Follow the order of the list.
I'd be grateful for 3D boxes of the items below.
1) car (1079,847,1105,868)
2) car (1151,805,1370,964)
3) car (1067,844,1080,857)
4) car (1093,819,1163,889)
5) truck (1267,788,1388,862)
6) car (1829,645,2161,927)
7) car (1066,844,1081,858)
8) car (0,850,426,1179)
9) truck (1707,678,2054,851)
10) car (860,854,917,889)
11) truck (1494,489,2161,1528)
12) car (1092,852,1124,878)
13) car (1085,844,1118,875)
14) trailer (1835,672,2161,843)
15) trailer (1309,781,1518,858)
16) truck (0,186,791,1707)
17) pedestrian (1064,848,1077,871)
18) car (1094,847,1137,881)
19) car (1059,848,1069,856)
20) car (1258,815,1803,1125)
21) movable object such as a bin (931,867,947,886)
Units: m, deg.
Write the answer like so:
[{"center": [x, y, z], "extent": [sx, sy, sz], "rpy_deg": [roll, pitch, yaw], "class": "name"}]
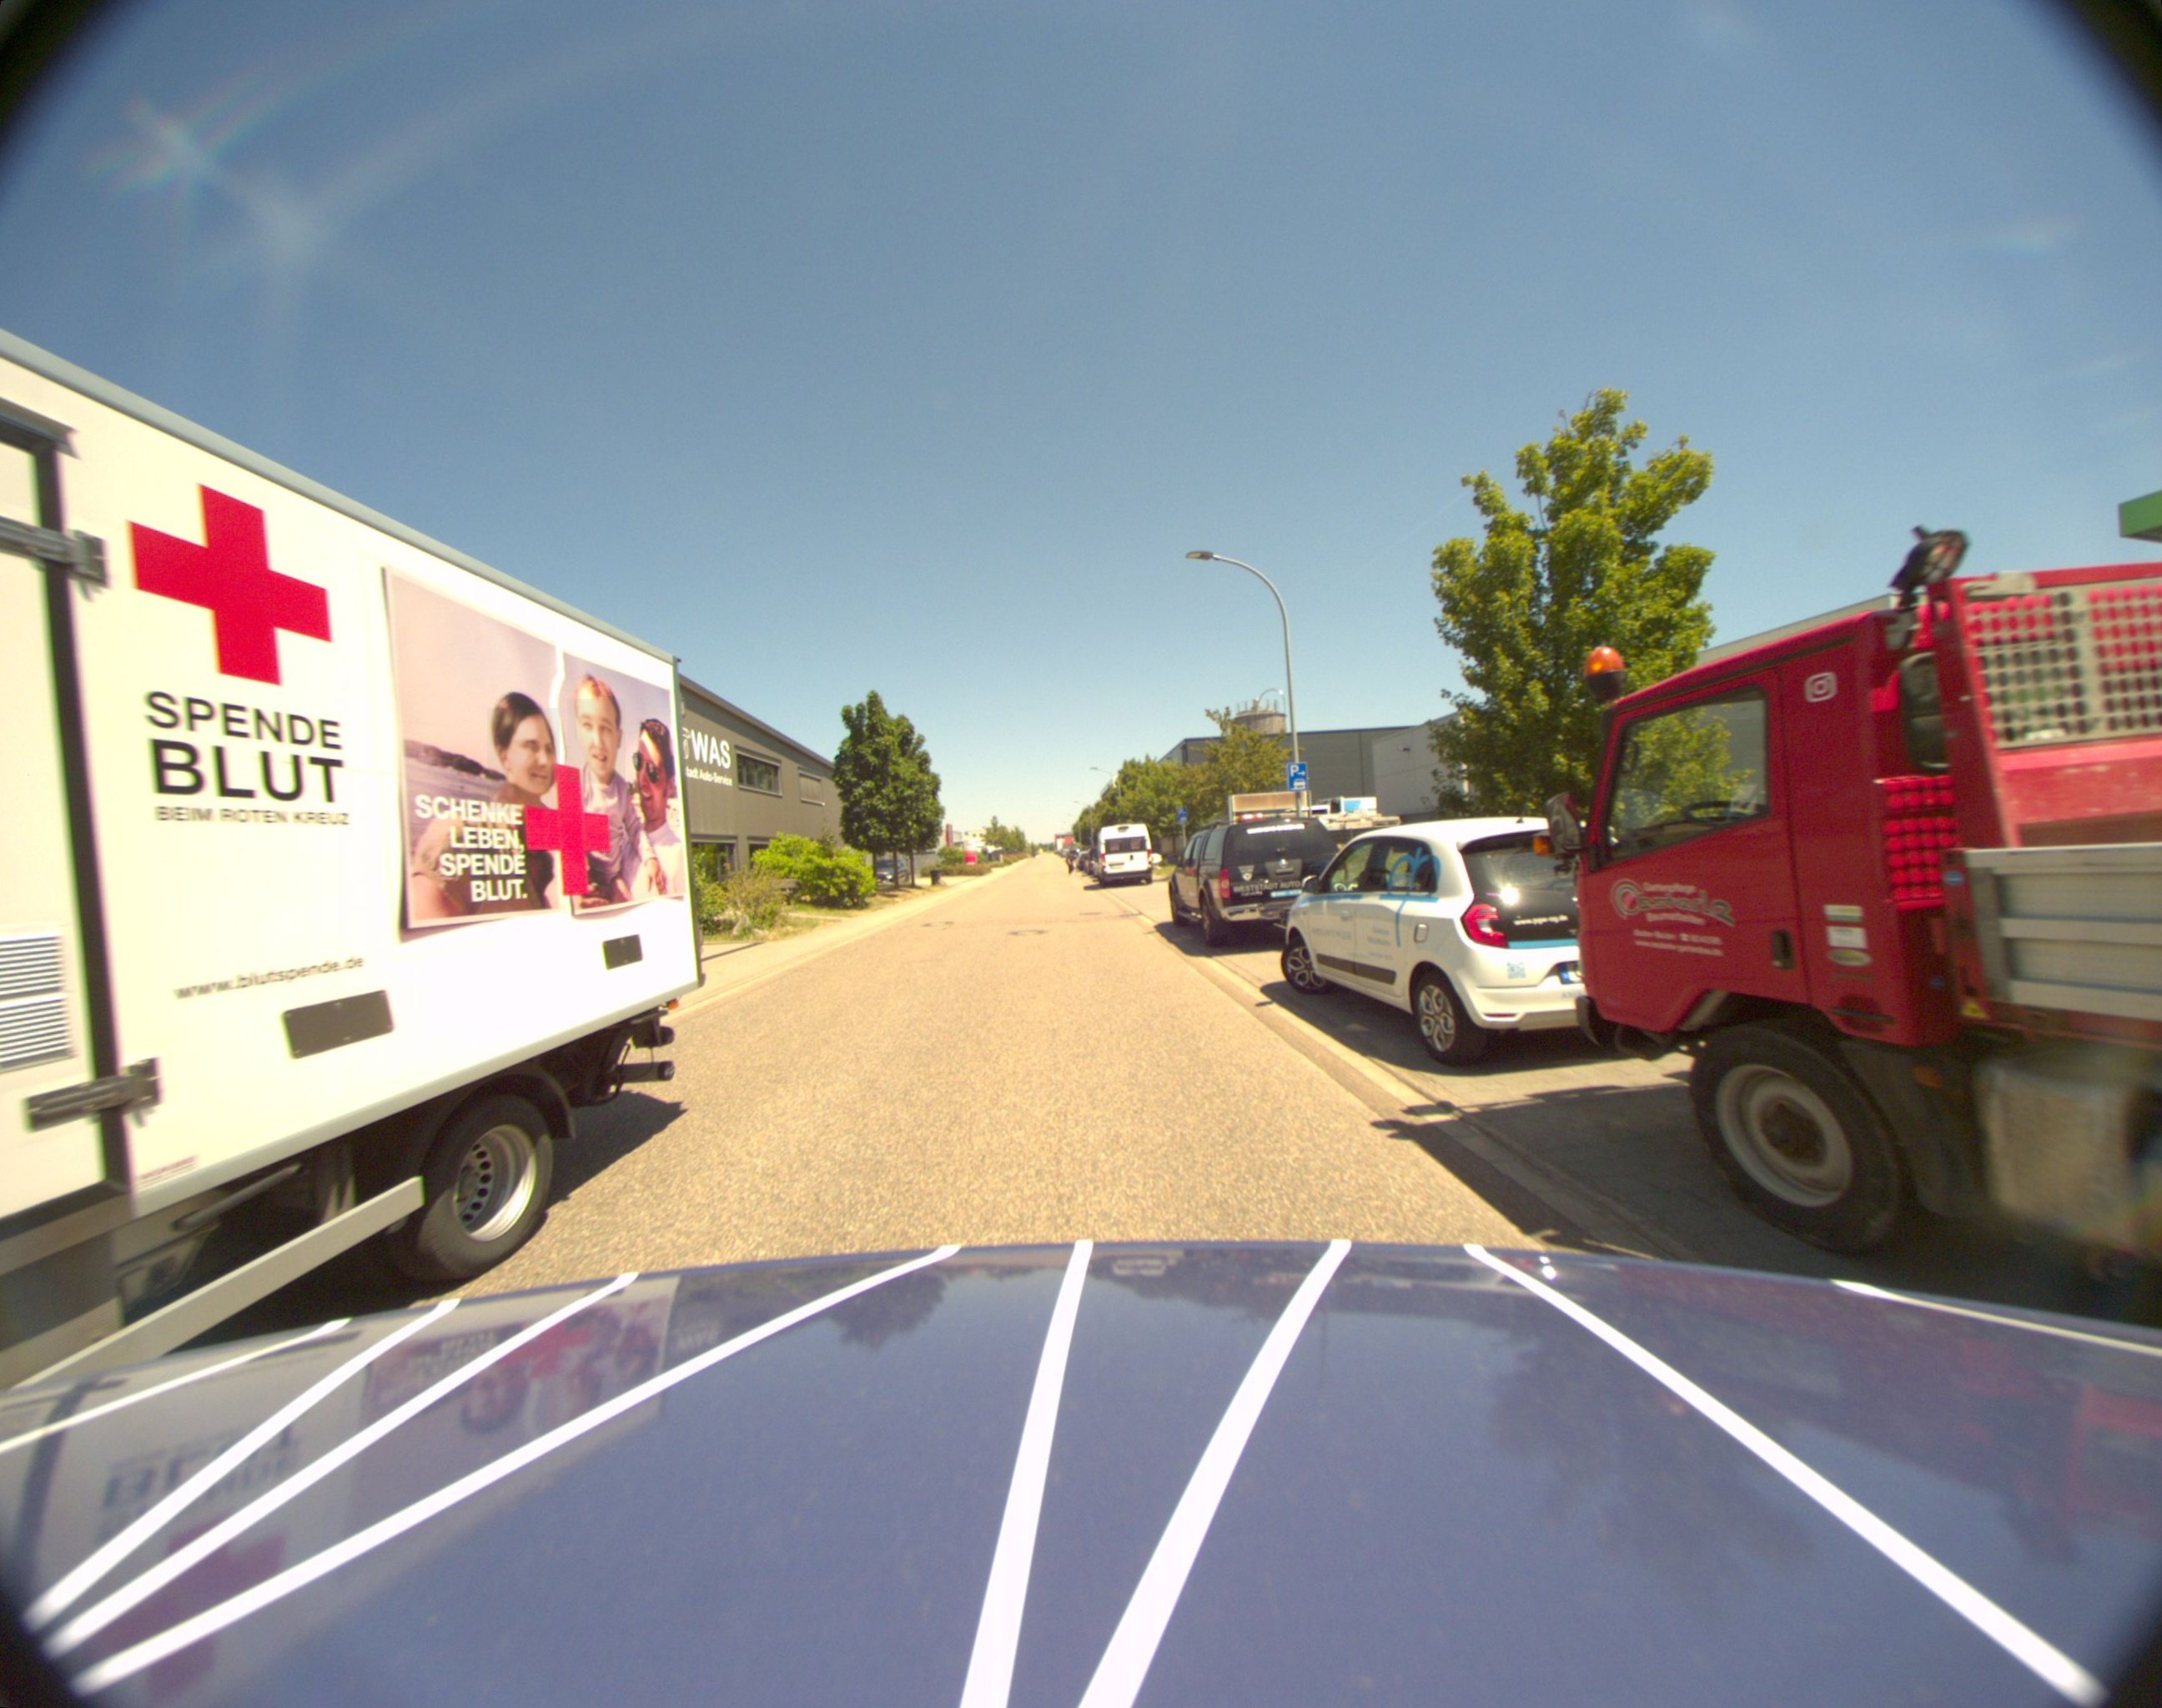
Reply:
[{"center": [0.871, 0.277, 62.614], "extent": [1.799, 1.477, 4.450], "rpy_deg": [-5, 1, -3], "class": "car"}, {"center": [2.577, 0.372, 12.516], "extent": [1.979, 1.890, 5.400], "rpy_deg": [-5, 1, -2], "class": "car"}, {"center": [-1.168, -0.515, 115.945], "extent": [1.799, 1.701, 3.829], "rpy_deg": [-5, 1, -3], "class": "car"}, {"center": [1.928, -0.034, 33.411], "extent": [2.329, 2.584, 6.083], "rpy_deg": [-5, 1, -1], "class": "car"}, {"center": [14.899, -1.731, 46.173], "extent": [6.056, 3.948, 3.153], "rpy_deg": [-4, 1, -14], "class": "truck"}, {"center": [13.178, -0.899, 9.109], "extent": [5.990, 2.808, 2.520], "rpy_deg": [-5, 1, -3], "class": "car"}, {"center": [-1.016, -0.409, 105.102], "extent": [1.799, 1.638, 3.829], "rpy_deg": [-5, 1, -3], "class": "car"}, {"center": [-7.659, 1.039, 5.019], "extent": [1.999, 2.002, 5.335], "rpy_deg": [-3, 1, -2], "class": "car"}, {"center": [21.570, -2.288, 20.816], "extent": [6.122, 4.064, 3.218], "rpy_deg": [-3, 1, -2], "class": "truck"}, {"center": [-11.723, 1.022, 46.595], "extent": [2.157, 1.800, 4.913], "rpy_deg": [-3, 1, 0], "class": "car"}, {"center": [3.187, 0.286, 1.515], "extent": [1.856, 2.210, 4.644], "rpy_deg": [-5, 1, -3], "class": "truck"}, {"center": [1.554, 0.611, 45.141], "extent": [1.648, 1.304, 3.999], "rpy_deg": [-5, 1, 0], "class": "car"}, {"center": [1.310, 0.318, 50.118], "extent": [1.836, 1.800, 4.081], "rpy_deg": [-5, 1, -1], "class": "car"}, {"center": [30.047, -2.758, 21.093], "extent": [15.362, 4.064, 3.218], "rpy_deg": [-3, 1, -2], "class": "trailer"}, {"center": [20.868, -2.151, 47.656], "extent": [12.542, 3.948, 3.153], "rpy_deg": [-4, 1, -14], "class": "trailer"}, {"center": [-3.325, 0.309, 1.840], "extent": [2.463, 3.187, 6.881], "rpy_deg": [-3, 1, -1], "class": "truck"}, {"center": [-0.729, 0.364, 53.808], "extent": [0.681, 1.559, 0.534], "rpy_deg": [-4, 1, -17], "class": "pedestrian"}, {"center": [1.763, 0.469, 40.113], "extent": [1.836, 1.532, 4.624], "rpy_deg": [-5, 1, -1], "class": "car"}, {"center": [-3.312, -0.402, 146.877], "extent": [1.799, 1.319, 3.829], "rpy_deg": [-5, 1, -3], "class": "car"}, {"center": [2.962, 0.625, 6.097], "extent": [1.857, 1.542, 3.765], "rpy_deg": [-5, 1, -4], "class": "car"}, {"center": [-8.289, 1.289, 44.471], "extent": [0.617, 1.040, 0.810], "rpy_deg": [-3, 1, 10], "class": "movable object such as a bin"}]
